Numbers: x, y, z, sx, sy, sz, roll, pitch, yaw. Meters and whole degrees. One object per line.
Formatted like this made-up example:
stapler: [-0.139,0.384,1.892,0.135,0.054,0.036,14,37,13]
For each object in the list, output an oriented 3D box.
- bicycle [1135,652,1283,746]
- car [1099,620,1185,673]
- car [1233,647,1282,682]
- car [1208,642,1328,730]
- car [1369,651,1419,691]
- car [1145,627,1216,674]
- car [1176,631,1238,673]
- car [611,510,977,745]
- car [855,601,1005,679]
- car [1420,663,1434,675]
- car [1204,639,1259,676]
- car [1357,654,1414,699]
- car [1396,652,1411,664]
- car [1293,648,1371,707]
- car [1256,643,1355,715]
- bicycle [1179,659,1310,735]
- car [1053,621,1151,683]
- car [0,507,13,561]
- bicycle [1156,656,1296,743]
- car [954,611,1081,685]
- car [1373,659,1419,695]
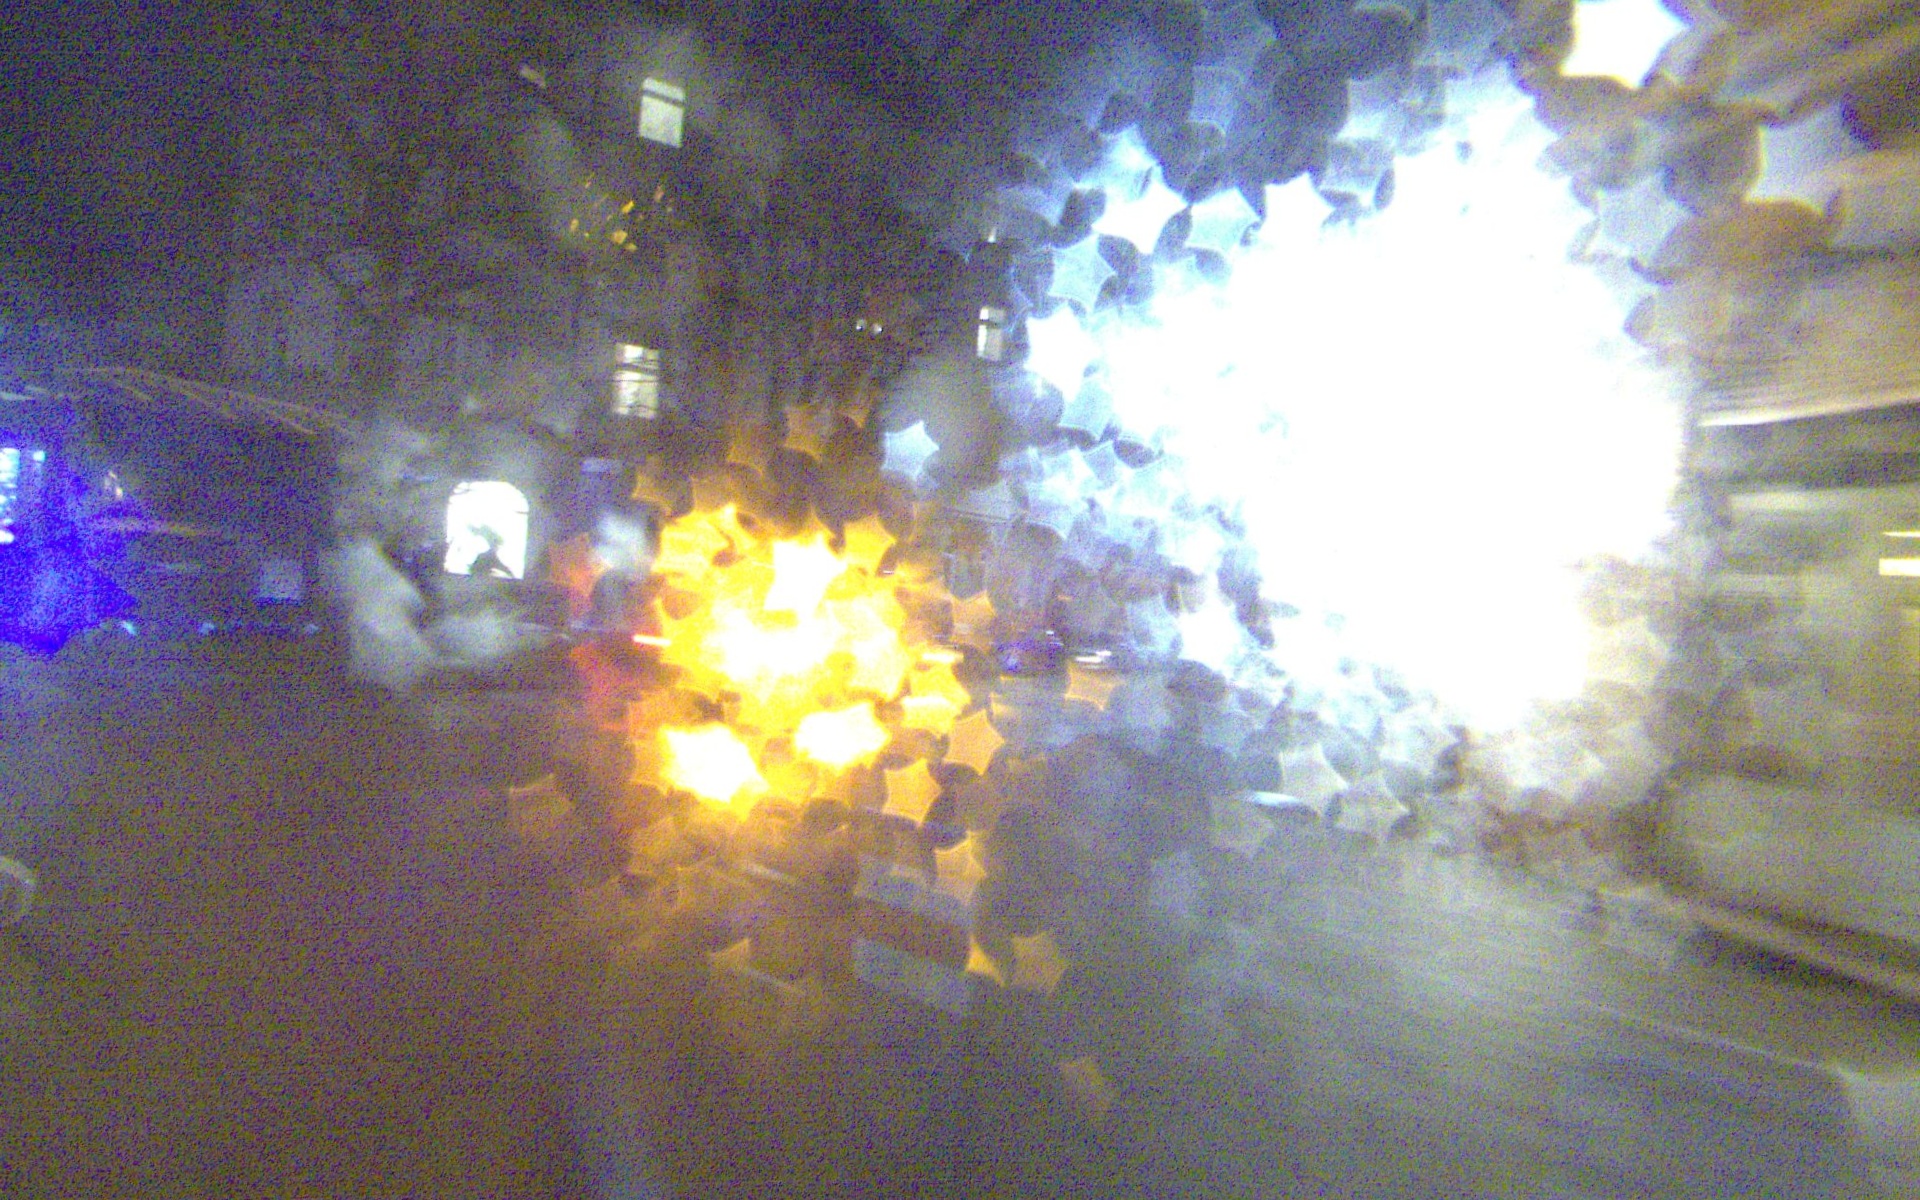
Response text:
bicycle: [3.633,1.434,14.764,1.952,1.128,0.507,5,-2,32]
car: [7.134,1.825,38.992,1.967,1.764,4.690,6,-1,25]
car: [17.800,3.833,60.097,1.967,1.764,4.690,6,-1,25]
car: [6.376,1.729,20.629,1.582,1.476,3.410,6,-1,29]
car: [18.661,3.023,43.187,1.582,1.476,3.410,6,-1,29]
car: [9.932,2.276,45.062,1.967,1.764,4.690,6,-1,25]
car: [12.322,2.602,49.985,1.967,1.764,4.690,6,-1,25]
car: [-1.631,0.342,11.871,1.966,2.074,4.692,6,-1,22]
car: [-0.580,0.988,23.947,1.739,1.521,4.418,6,-1,24]
car: [75.787,11.160,163.199,1.967,1.764,4.690,6,-1,25]
car: [14.879,3.147,55.032,1.967,1.764,4.690,6,-1,25]
car: [16.403,2.919,38.732,1.582,1.476,3.410,6,-1,29]
car: [75.274,9.789,170.761,1.968,1.764,4.688,6,-1,28]
car: [11.103,2.280,29.875,1.582,1.476,3.410,6,-1,29]
car: [8.665,1.927,25.012,1.582,1.476,3.974,6,-1,29]
bicycle: [4.805,1.630,17.038,1.952,1.021,0.701,5,-2,32]
car: [4.909,1.772,34.138,1.966,1.764,4.691,6,-1,24]
car: [-30.791,-2.238,29.982,1.704,1.631,3.464,6,-3,-1]
bicycle: [4.221,1.565,16.013,1.952,1.128,0.701,5,-2,32]
car: [1.750,1.380,28.743,1.966,1.764,4.691,6,-1,24]
car: [20.694,3.627,47.668,1.582,1.476,3.410,6,-1,29]
